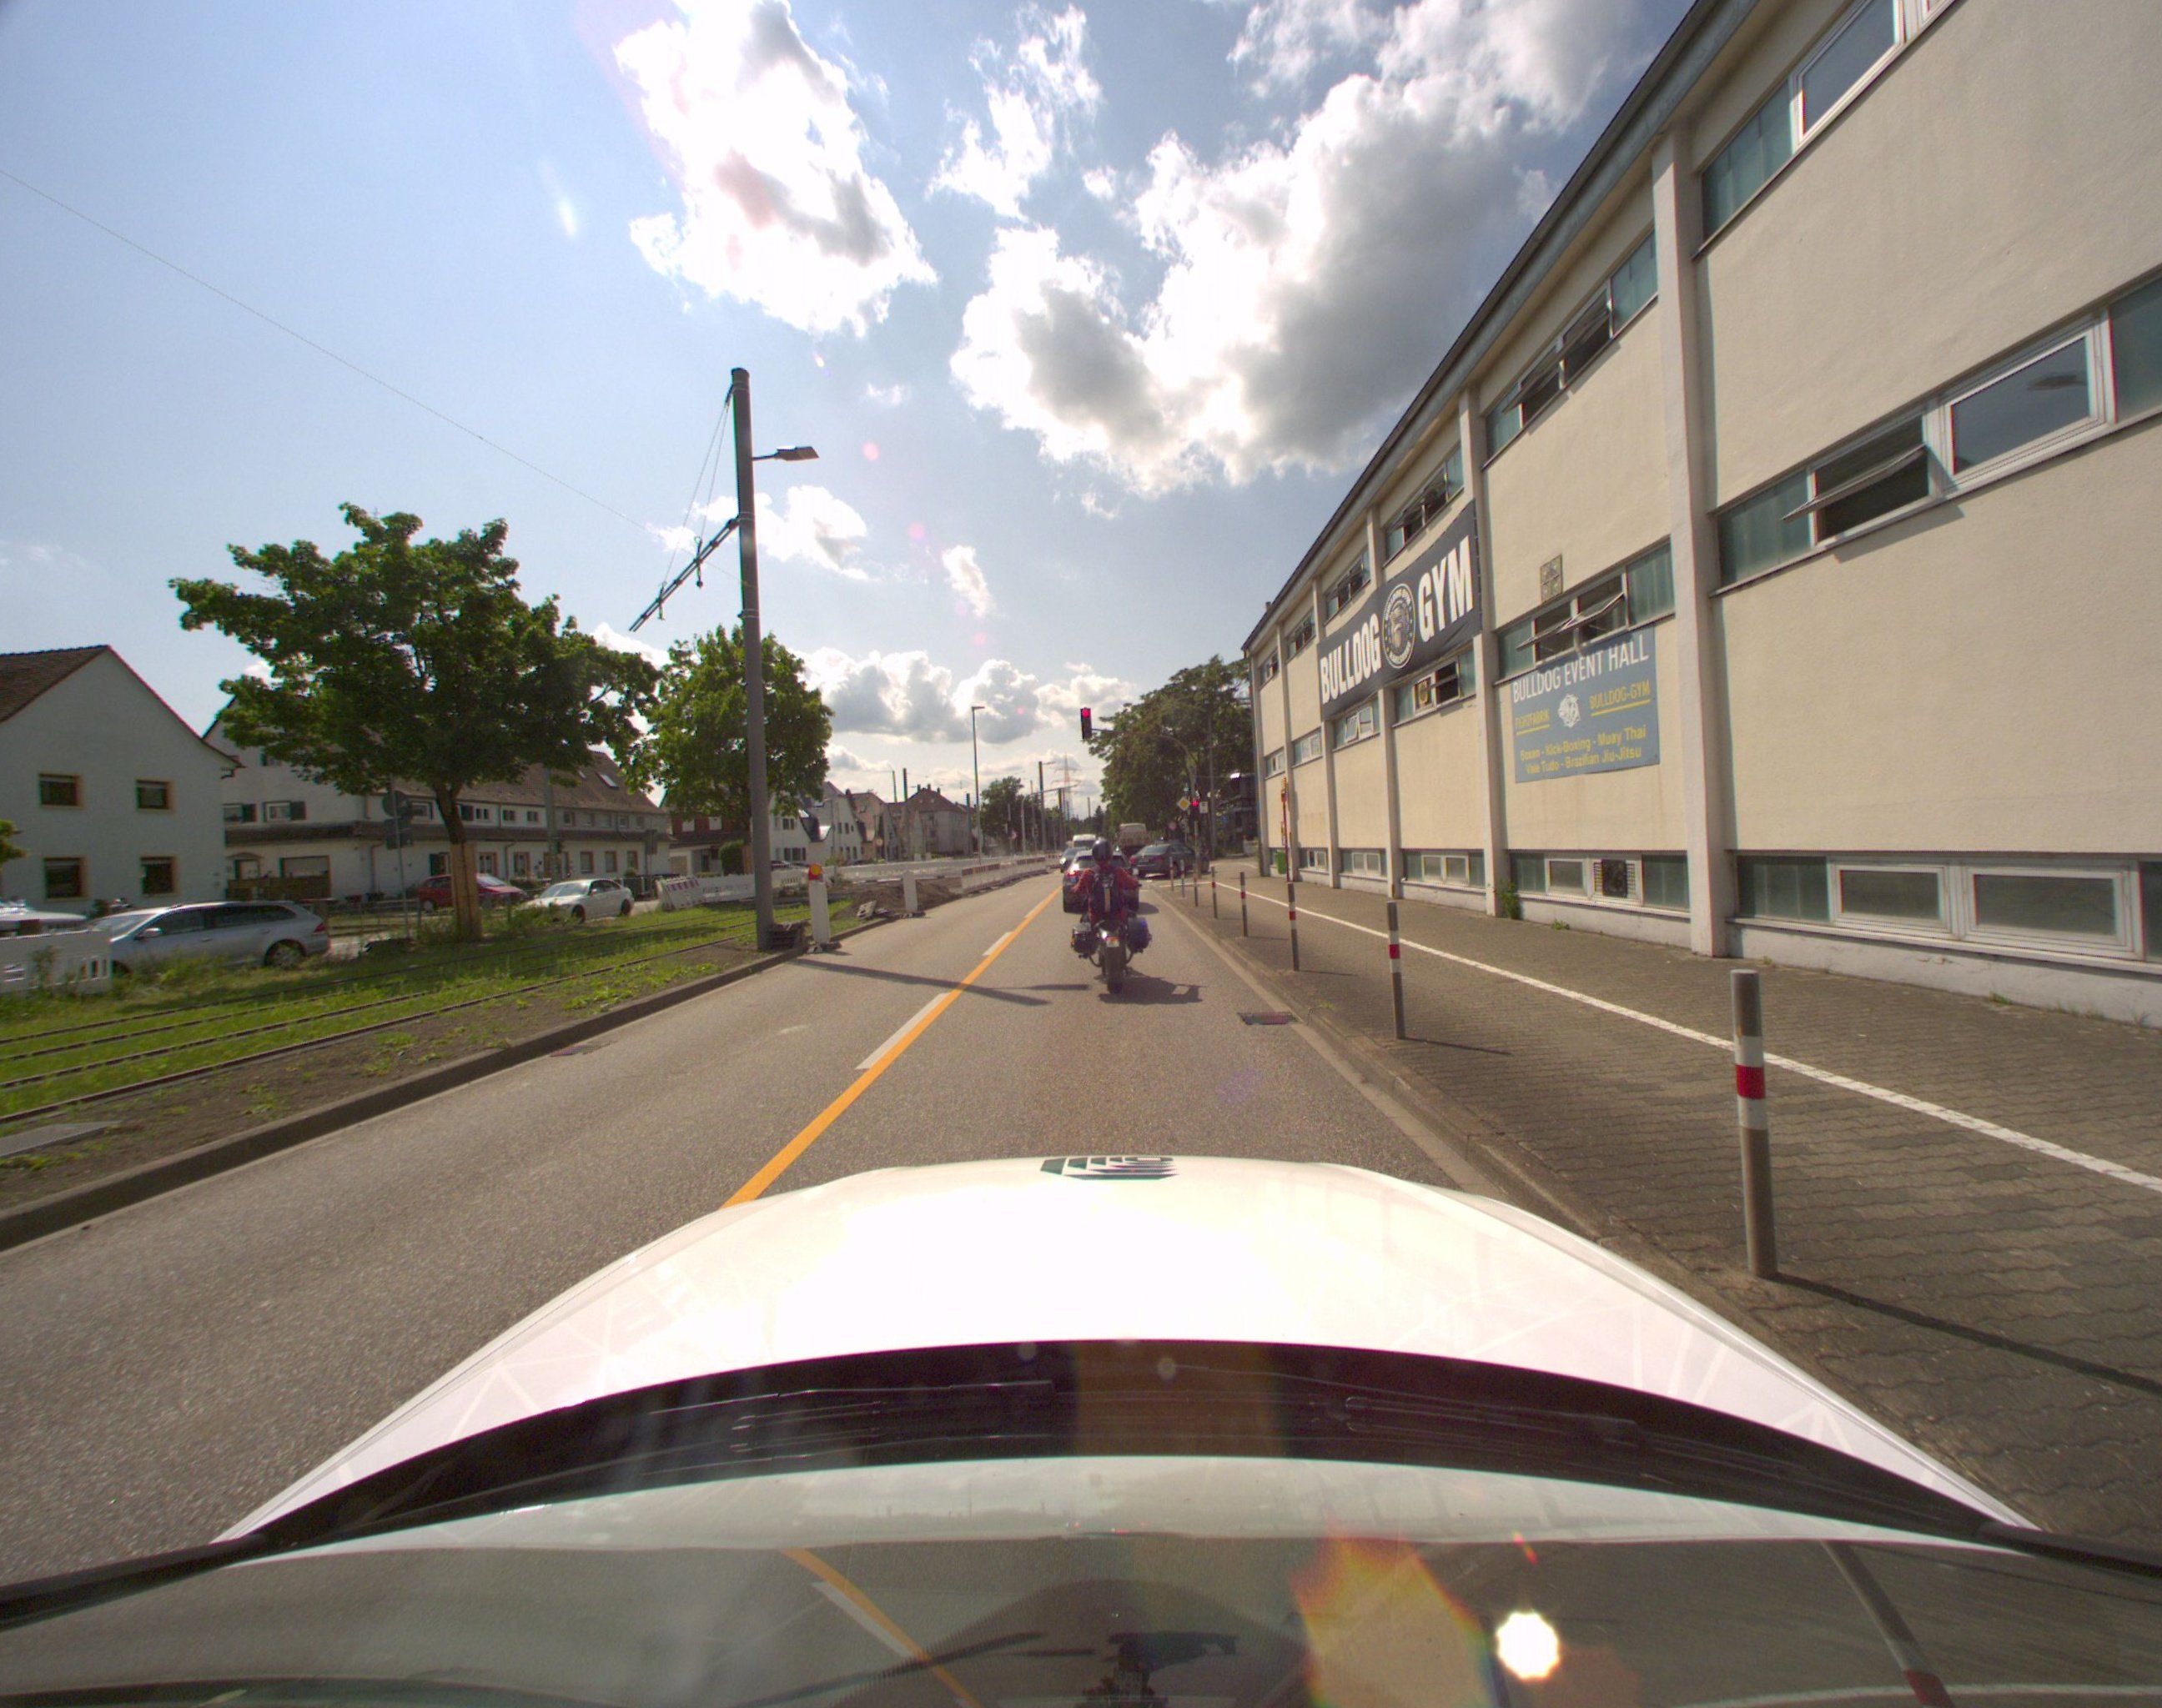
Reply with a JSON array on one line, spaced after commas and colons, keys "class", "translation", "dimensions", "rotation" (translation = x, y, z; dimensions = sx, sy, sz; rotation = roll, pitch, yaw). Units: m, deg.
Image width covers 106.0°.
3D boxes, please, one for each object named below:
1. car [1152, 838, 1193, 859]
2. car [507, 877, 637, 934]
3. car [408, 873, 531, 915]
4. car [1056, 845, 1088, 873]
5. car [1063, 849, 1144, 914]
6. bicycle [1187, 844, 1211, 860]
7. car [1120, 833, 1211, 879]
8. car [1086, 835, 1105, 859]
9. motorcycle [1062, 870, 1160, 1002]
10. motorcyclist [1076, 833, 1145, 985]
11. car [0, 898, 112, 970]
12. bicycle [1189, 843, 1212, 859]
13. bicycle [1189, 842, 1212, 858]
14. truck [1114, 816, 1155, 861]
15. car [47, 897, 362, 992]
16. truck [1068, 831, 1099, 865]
[{"class": "car", "translation": [9.076, -0.544, 80.570], "dimensions": [4.023, 1.926, 1.781], "rotation": [-1, 0, -43]}, {"class": "car", "translation": [-15.772, 1.537, 25.515], "dimensions": [1.537, 1.376, 4.246], "rotation": [-3, 1, -4]}, {"class": "car", "translation": [-26.641, 1.721, 35.567], "dimensions": [3.973, 1.509, 1.726], "rotation": [-3, 0, 0]}, {"class": "car", "translation": [-0.500, 0.265, 49.133], "dimensions": [1.638, 1.498, 4.272], "rotation": [-3, 1, 3]}, {"class": "car", "translation": [0.458, 0.605, 20.365], "dimensions": [1.727, 1.403, 4.082], "rotation": [-1, 0, -3]}, {"class": "bicycle", "translation": [8.720, -0.156, 60.264], "dimensions": [1.699, 1.172, 0.439], "rotation": [-1, 0, 6]}, {"class": "car", "translation": [3.866, 0.037, 36.380], "dimensions": [1.882, 1.712, 4.750], "rotation": [-2, 2, 35]}, {"class": "car", "translation": [1.346, -0.597, 75.559], "dimensions": [1.583, 2.142, 3.629], "rotation": [-1, 0, 3]}, {"class": "motorcycle", "translation": [0.333, 0.824, 9.187], "dimensions": [0.939, 1.200, 2.473], "rotation": [-1, 1, 2]}, {"class": "motorcyclist", "translation": [0.322, 0.582, 8.970], "dimensions": [0.695, 1.604, 0.692], "rotation": [-1, 0, 1]}, {"class": "car", "translation": [-28.571, 2.084, 21.035], "dimensions": [4.405, 1.686, 1.794], "rotation": [-1, 0, -9]}, {"class": "bicycle", "translation": [8.896, -0.221, 60.746], "dimensions": [1.699, 1.172, 0.439], "rotation": [-1, 0, 6]}, {"class": "bicycle", "translation": [8.998, -0.271, 61.292], "dimensions": [1.699, 1.172, 0.439], "rotation": [-1, 0, 6]}, {"class": "truck", "translation": [4.202, -1.129, 63.323], "dimensions": [2.954, 3.173, 7.773], "rotation": [-1, 0, 4]}, {"class": "car", "translation": [-15.439, 1.528, 14.681], "dimensions": [1.497, 1.176, 3.750], "rotation": [-3, 1, 2]}, {"class": "truck", "translation": [0.226, -0.542, 65.109], "dimensions": [2.084, 2.476, 5.200], "rotation": [-4, 2, 3]}]
